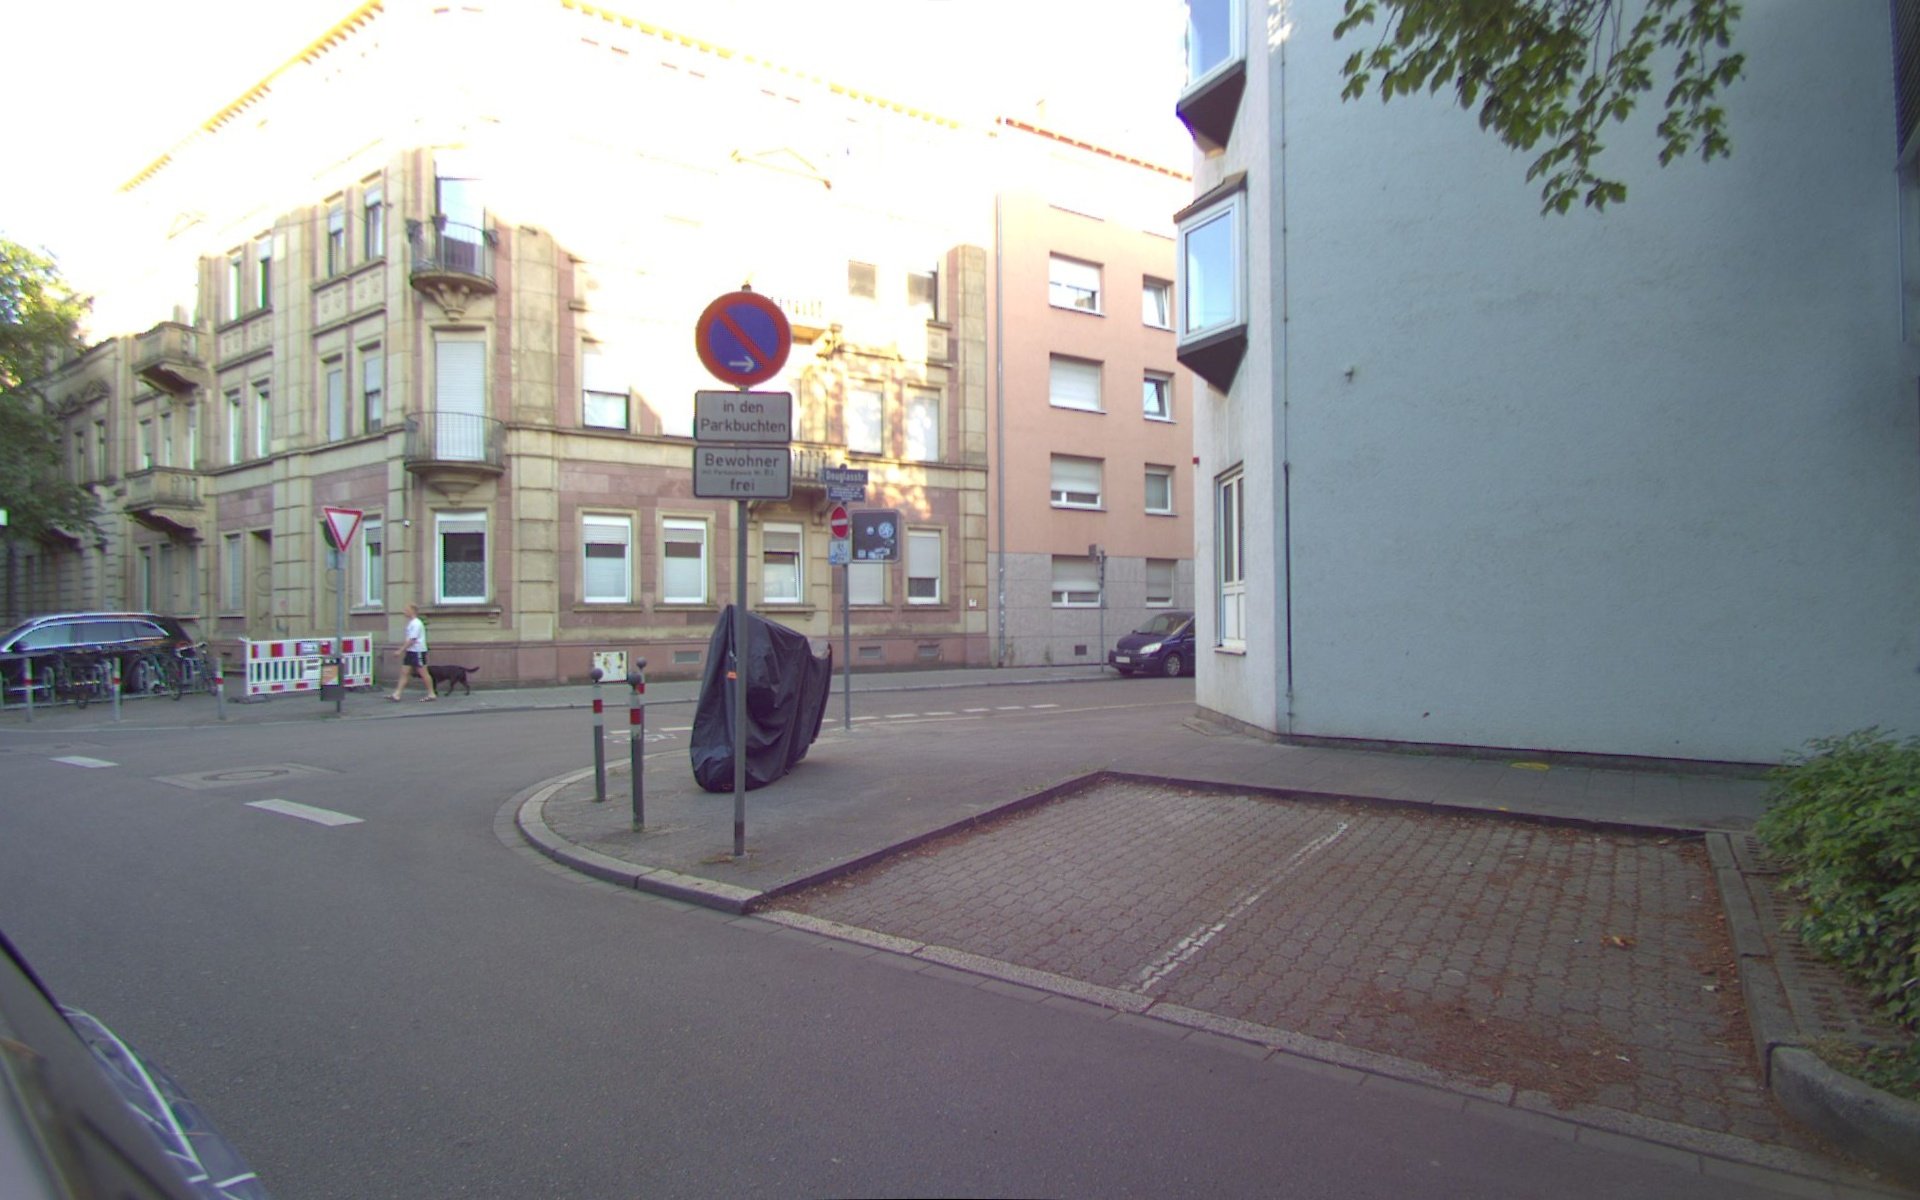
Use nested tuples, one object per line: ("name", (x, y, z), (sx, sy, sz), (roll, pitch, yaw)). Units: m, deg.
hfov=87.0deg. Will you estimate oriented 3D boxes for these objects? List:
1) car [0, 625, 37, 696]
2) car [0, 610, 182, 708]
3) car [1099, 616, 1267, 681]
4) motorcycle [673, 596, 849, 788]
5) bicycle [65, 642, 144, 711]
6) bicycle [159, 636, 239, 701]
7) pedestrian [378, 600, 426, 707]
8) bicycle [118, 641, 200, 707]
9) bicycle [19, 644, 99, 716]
("car", (-24.302, 1.430, 23.390), (1.740, 1.690, 4.190), (-1, -2, 39))
("car", (-17.902, 1.098, 19.466), (1.740, 1.795, 4.368), (-1, -2, 39))
("car", (5.740, 1.173, 25.851), (4.297, 1.529, 1.789), (1, -2, -36))
("motorcycle", (-1.722, 0.750, 9.201), (0.809, 1.516, 2.276), (-1, -1, 10))
("bicycle", (-15.268, 1.336, 18.052), (2.034, 1.159, 0.555), (-1, -1, 34))
("bicycle", (-14.443, 1.277, 19.183), (2.033, 1.159, 0.556), (-1, -1, 33))
("pedestrian", (-9.764, 0.925, 17.731), (0.640, 1.821, 0.575), (0, -1, -17))
("bicycle", (-14.797, 1.338, 18.680), (2.033, 1.159, 0.556), (-1, -1, 33))
("bicycle", (-15.621, 1.360, 17.522), (2.034, 1.159, 0.555), (-1, -1, 34))
